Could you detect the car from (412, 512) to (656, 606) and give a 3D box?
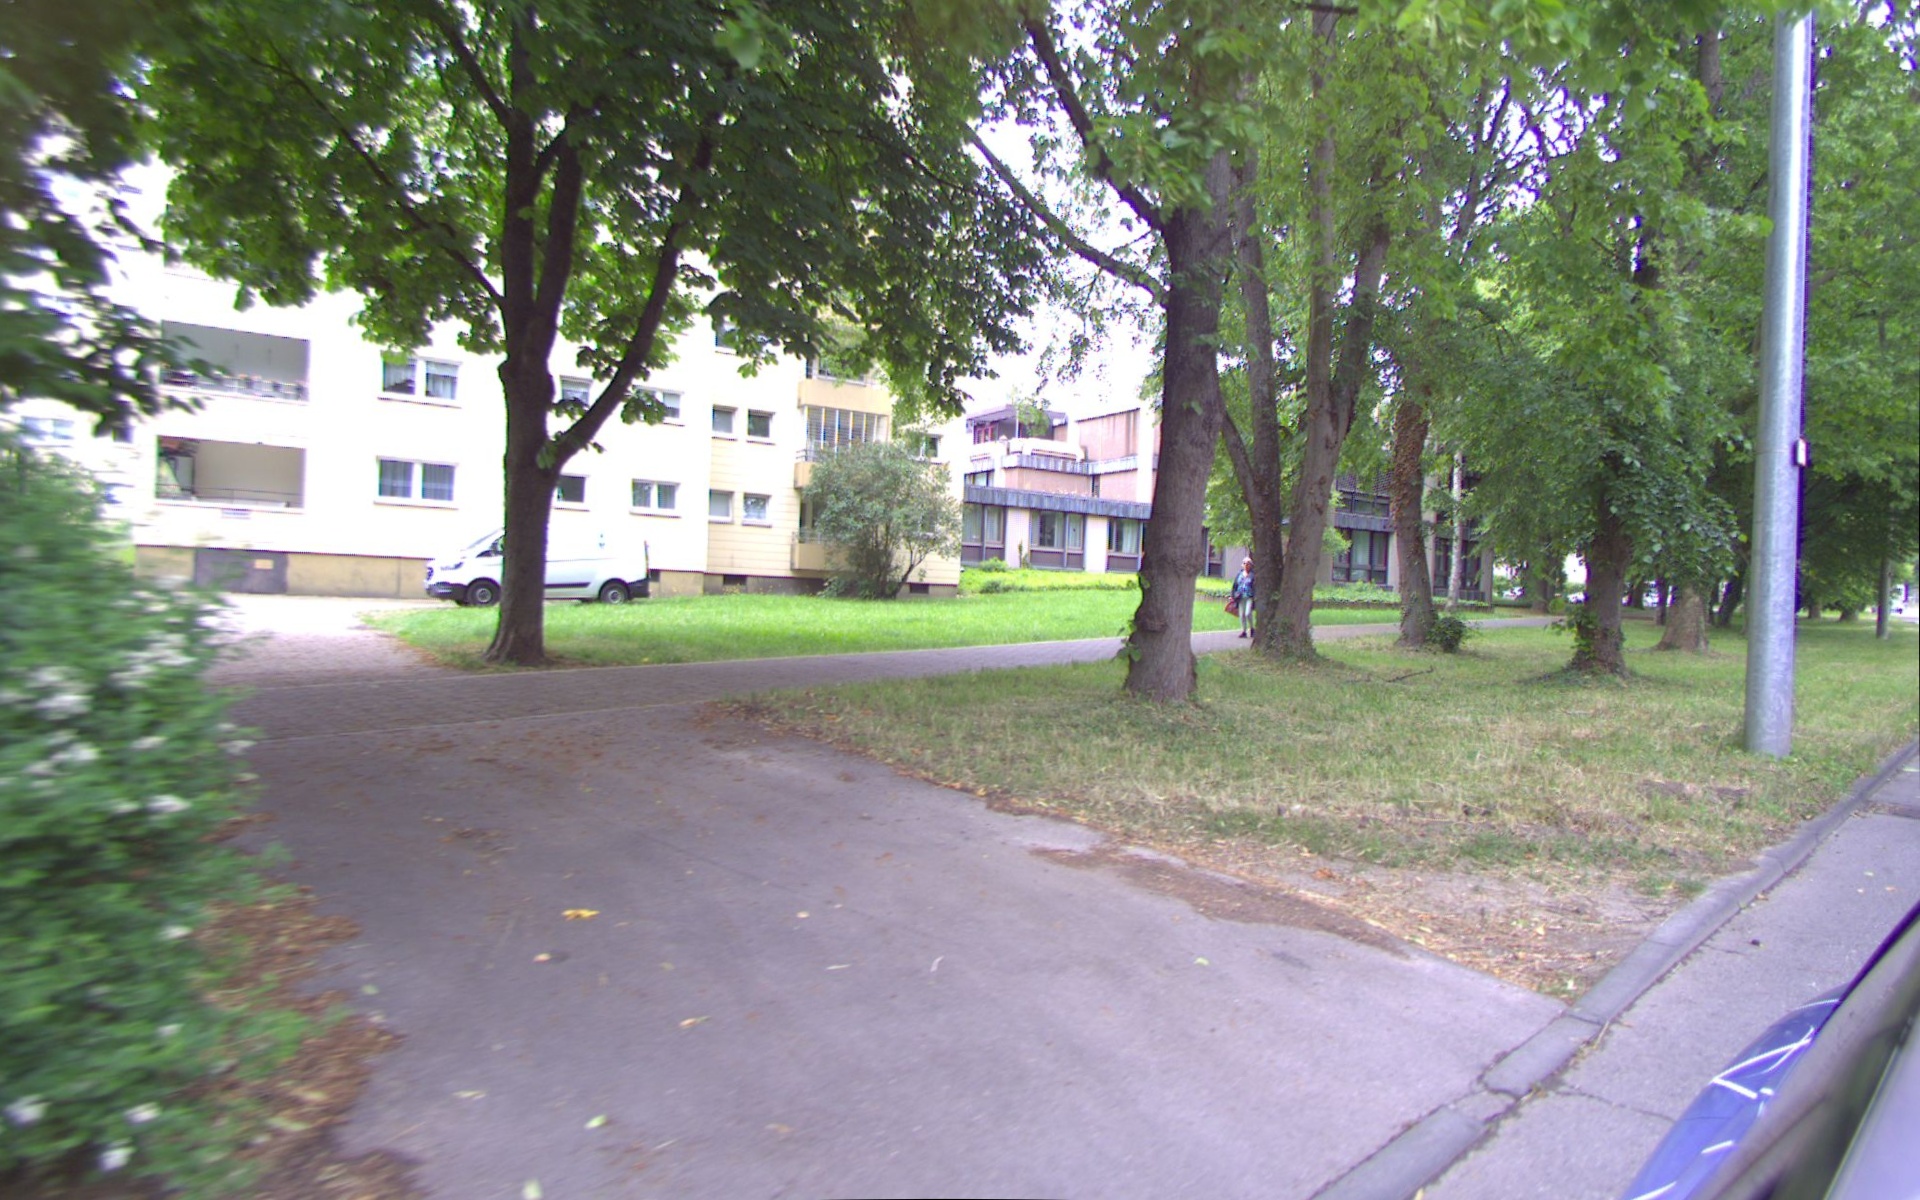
[{"bbox_3d":[-9.915,-0.912,23.732,4.874,1.865,2.093,2,2,-37],"label":"car"}]

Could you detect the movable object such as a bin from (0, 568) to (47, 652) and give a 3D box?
[{"bbox_3d":[-10.494,0.102,11.102,0.598,0.889,0.658,4,3,43],"label":"movable object such as a bin"}]

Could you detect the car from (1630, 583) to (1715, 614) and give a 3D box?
[{"bbox_3d":[59.501,-0.170,84.604,5.241,2.328,2.286,2,1,10],"label":"car"}]

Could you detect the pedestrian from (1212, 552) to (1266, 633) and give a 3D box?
[{"bbox_3d":[6.075,-0.167,22.033,0.768,1.707,0.801,4,2,44],"label":"pedestrian"}]

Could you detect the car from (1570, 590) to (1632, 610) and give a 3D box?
[{"bbox_3d":[53.898,-0.018,85.161,3.928,1.529,1.799,2,1,4],"label":"car"}]
